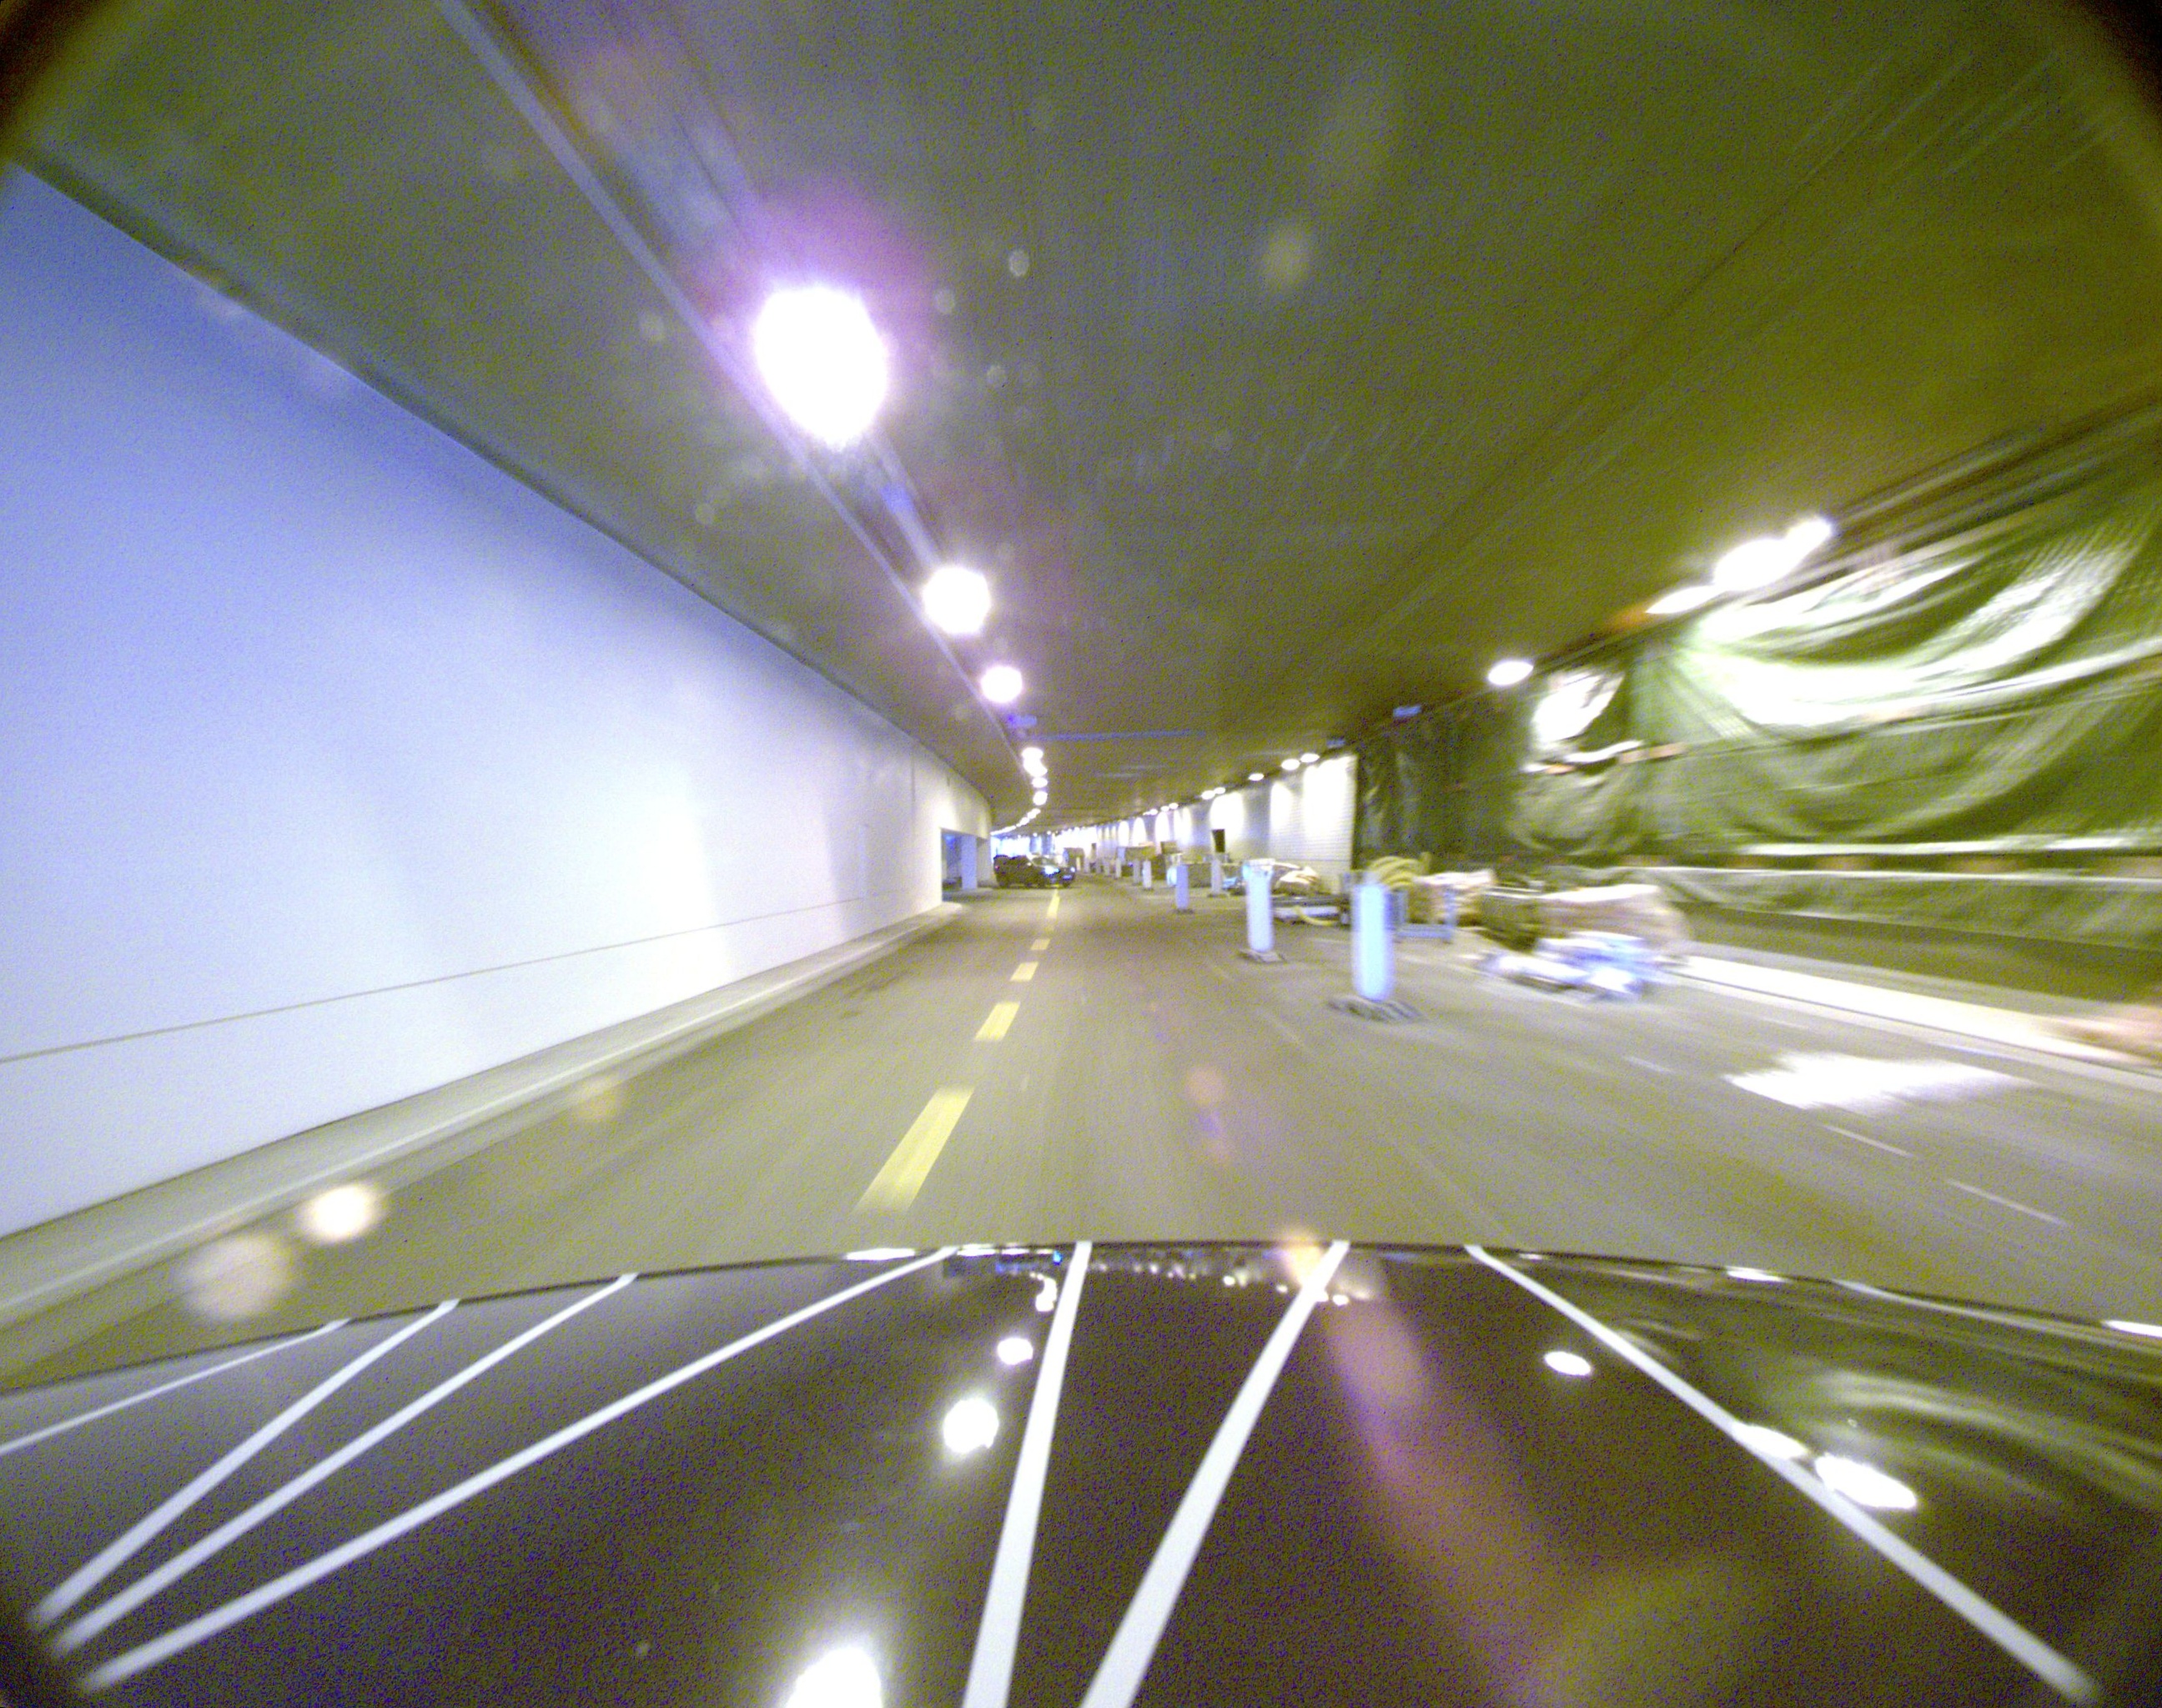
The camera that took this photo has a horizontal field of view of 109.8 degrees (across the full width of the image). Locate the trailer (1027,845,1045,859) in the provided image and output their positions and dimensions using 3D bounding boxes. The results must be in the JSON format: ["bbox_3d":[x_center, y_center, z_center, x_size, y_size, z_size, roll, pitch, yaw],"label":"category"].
[{"bbox_3d":[-6.104,-0.318,102.443,1.645,1.781,3.117,-2,1,-16],"label":"trailer"}]

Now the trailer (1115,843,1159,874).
[{"bbox_3d":[3.713,0.260,51.211,2.215,2.002,3.463,-2,1,-9],"label":"trailer"}]

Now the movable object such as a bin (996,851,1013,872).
[{"bbox_3d":[-5.624,0.559,55.710,1.101,1.437,1.321,-2,1,-8],"label":"movable object such as a bin"}]

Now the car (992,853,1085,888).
[{"bbox_3d":[-2.060,0.759,36.105,4.228,1.537,1.901,-1,2,42],"label":"car"}]

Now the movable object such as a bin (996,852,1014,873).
[{"bbox_3d":[-5.453,0.581,54.314,1.149,1.437,1.362,-2,1,-8],"label":"movable object such as a bin"}]
